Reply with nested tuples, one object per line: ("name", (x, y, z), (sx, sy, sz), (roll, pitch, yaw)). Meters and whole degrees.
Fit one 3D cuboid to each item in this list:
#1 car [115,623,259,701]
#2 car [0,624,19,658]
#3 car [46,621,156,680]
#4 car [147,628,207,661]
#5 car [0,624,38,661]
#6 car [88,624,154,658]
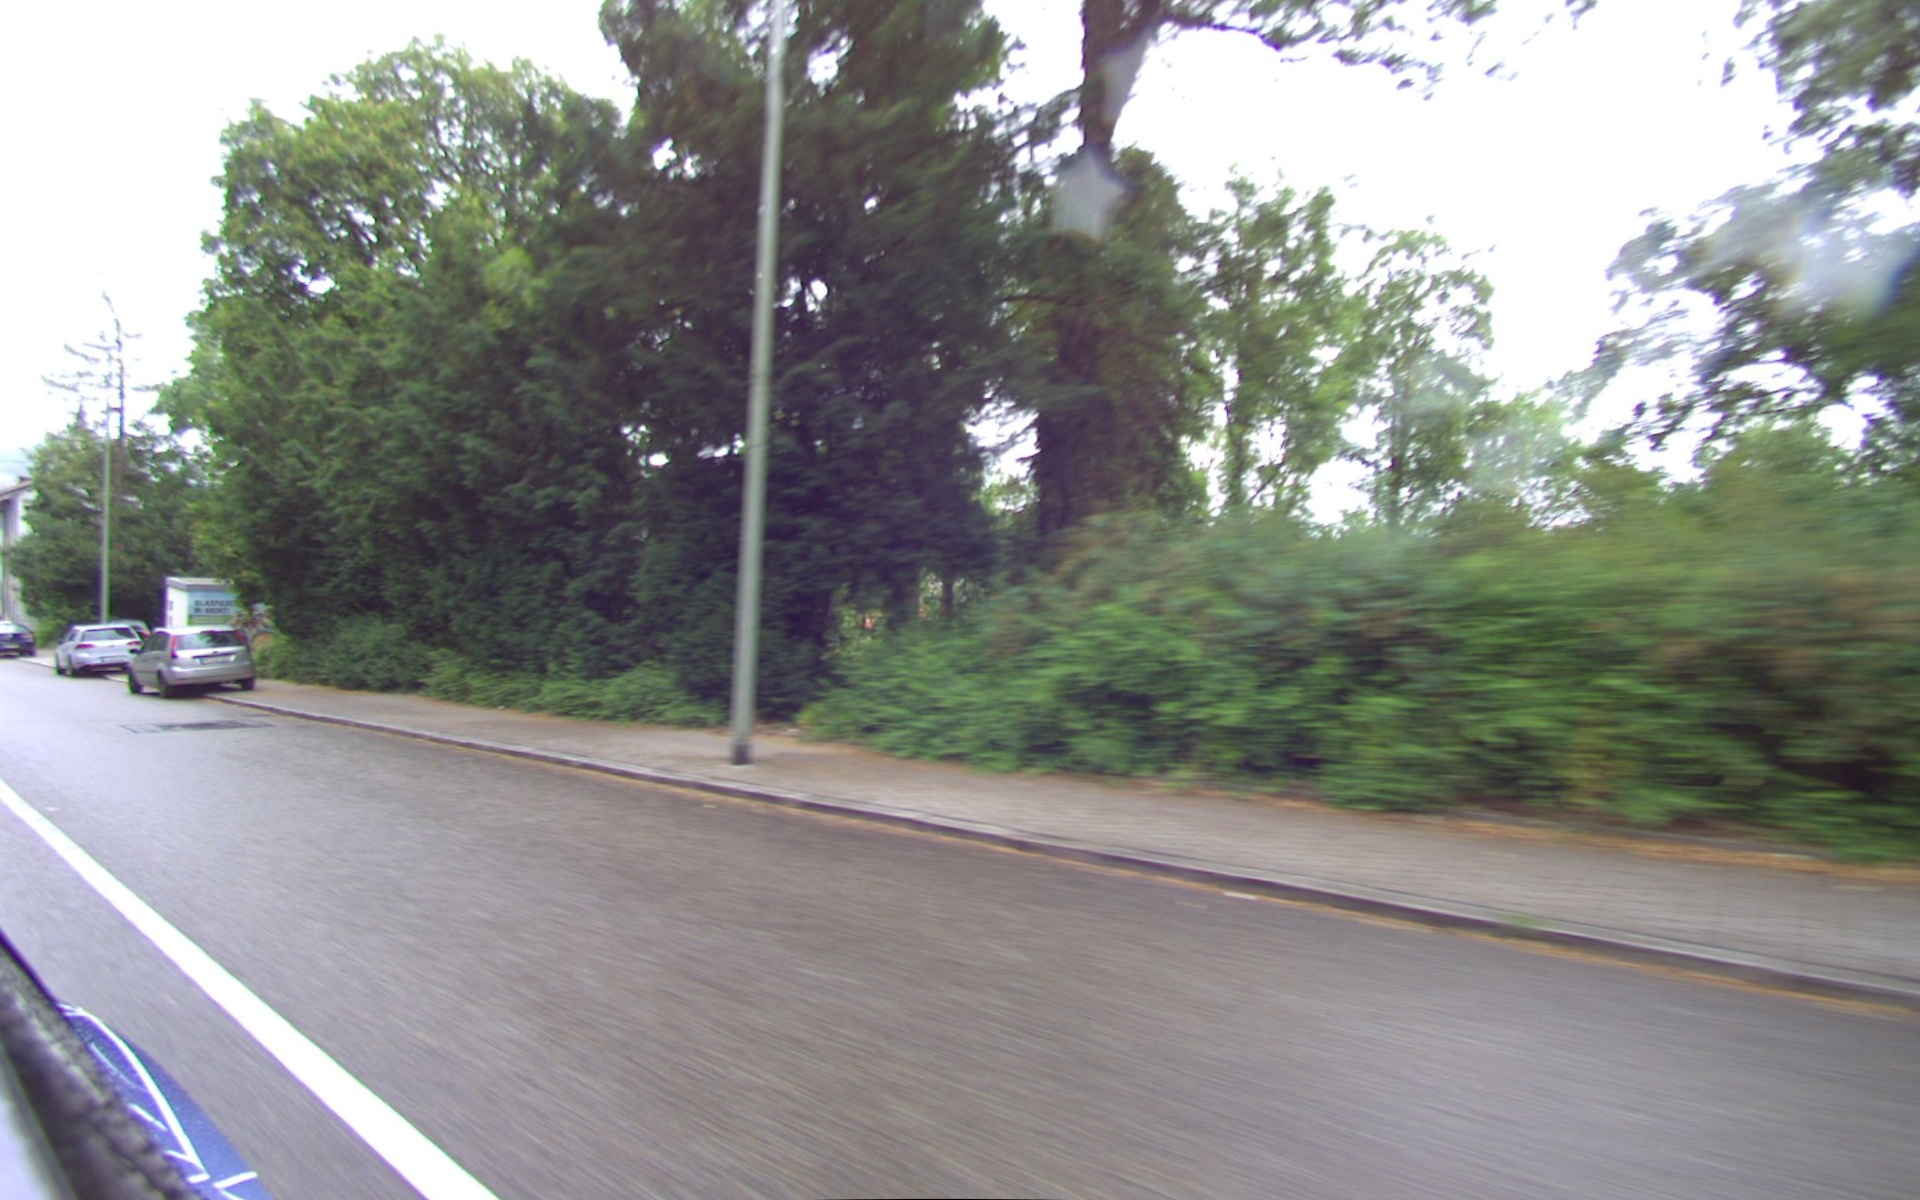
("car", (-17.089, 1.306, 22.318), (3.924, 1.510, 1.610), (-1, 0, 39))
("car", (-46.302, 1.935, 48.413), (4.150, 1.581, 1.637), (-2, -3, 45))
("car", (-25.714, 1.493, 30.240), (4.238, 1.624, 1.866), (-1, -4, 42))
("car", (-37.020, 2.078, 47.824), (3.773, 1.470, 1.604), (-1, -2, 42))
("car", (-41.427, 1.812, 43.621), (4.753, 1.505, 1.840), (-1, -5, 41))
("car", (-38.567, 1.859, 46.478), (4.395, 1.470, 1.704), (-1, -2, 42))
